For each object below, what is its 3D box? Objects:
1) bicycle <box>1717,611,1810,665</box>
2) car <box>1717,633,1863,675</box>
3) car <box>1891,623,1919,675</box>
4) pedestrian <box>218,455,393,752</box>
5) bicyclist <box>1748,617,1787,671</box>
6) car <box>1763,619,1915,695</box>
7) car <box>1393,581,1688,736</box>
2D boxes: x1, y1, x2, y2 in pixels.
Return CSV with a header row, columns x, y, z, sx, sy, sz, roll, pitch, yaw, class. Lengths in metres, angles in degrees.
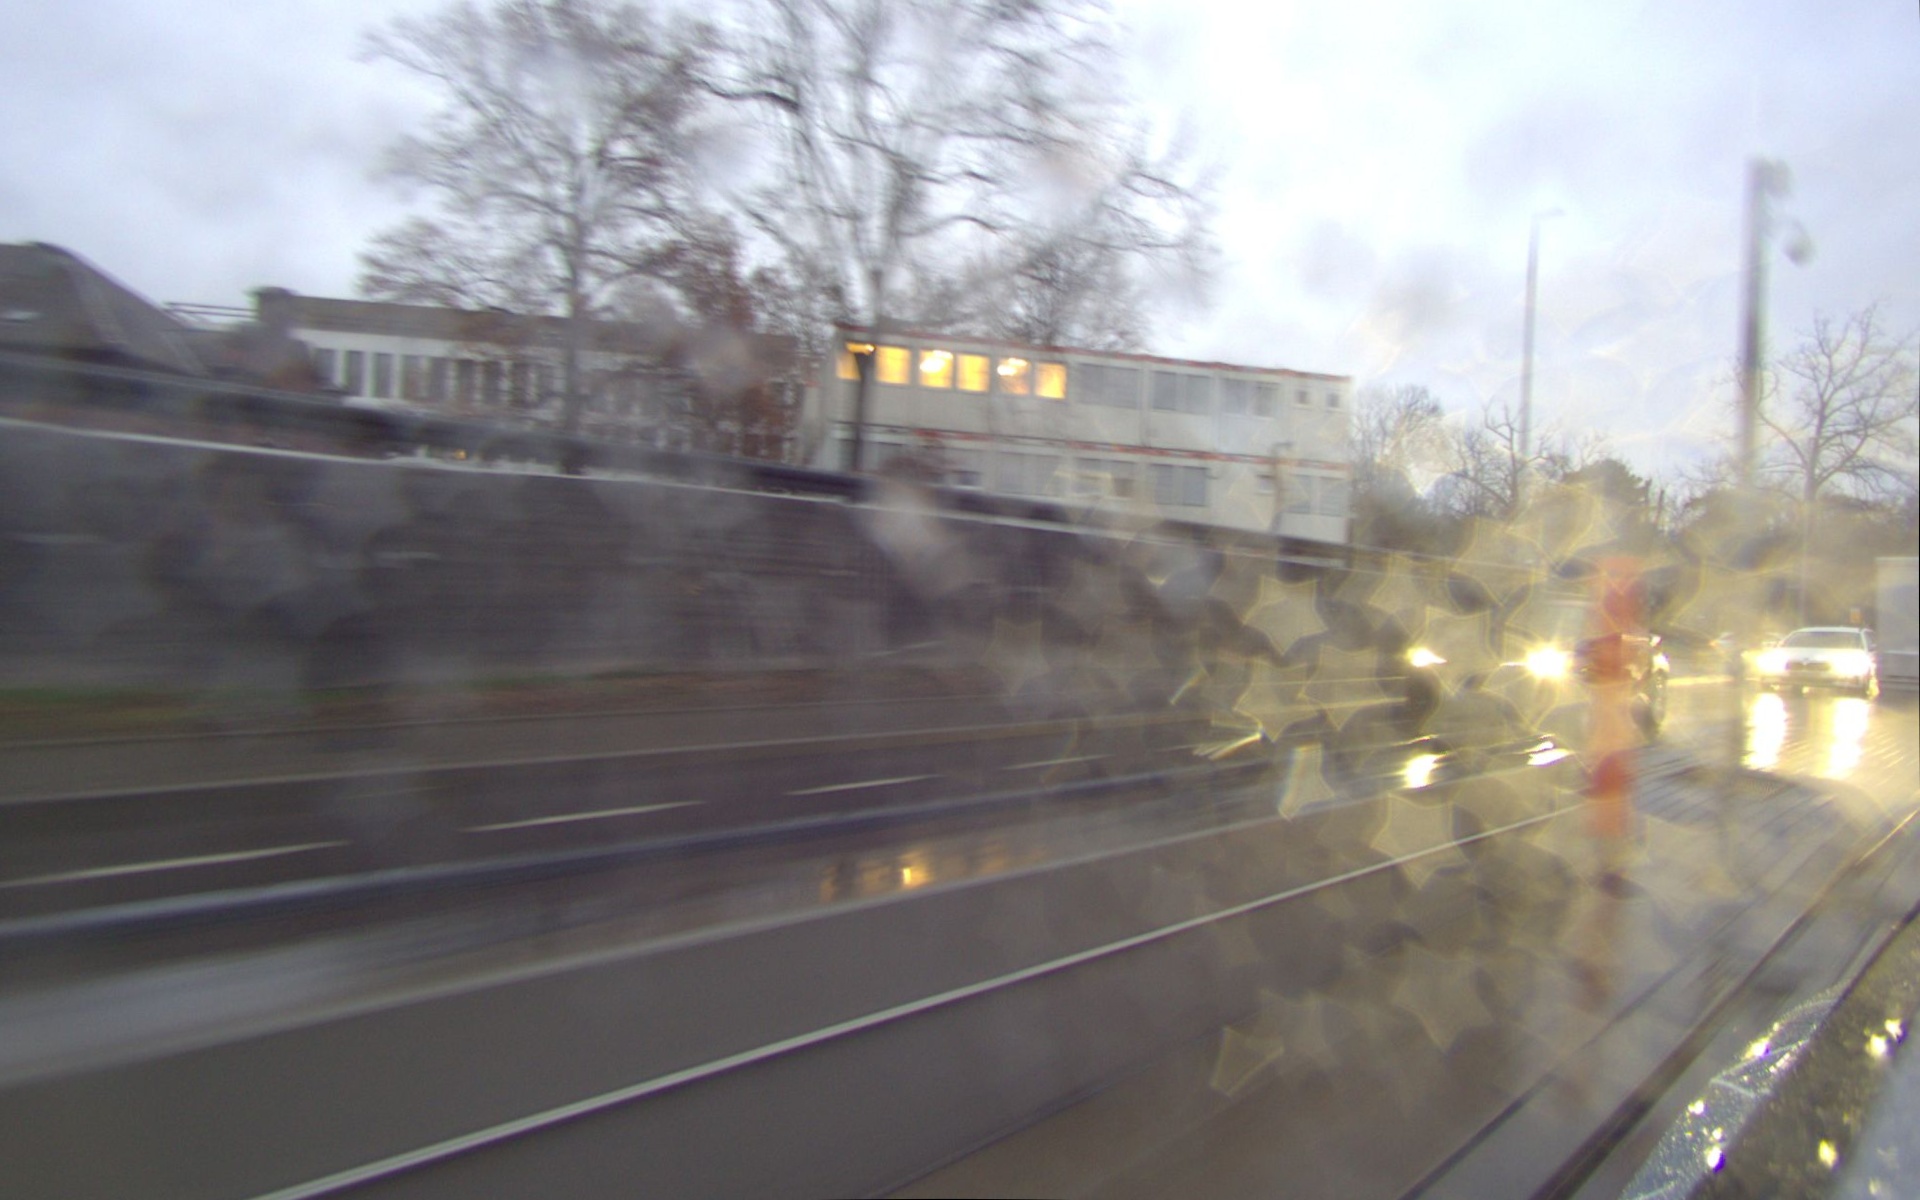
x,y,z,sx,sy,sz,roll,pitch,yaw,class
25.992,1.202,32.771,0.677,1.678,2.247,1,-1,-35,bicycle
35.759,2.308,43.719,1.845,1.508,4.520,2,0,-32,car
29.691,1.473,30.429,3.964,1.480,1.779,1,0,-36,car
-4.513,0.025,6.989,0.885,1.903,0.532,2,0,-42,pedestrian
26.069,1.405,32.668,0.684,1.700,0.818,2,-1,-35,bicyclist
20.337,1.225,23.349,4.877,1.520,1.791,1,0,-39,car
6.835,0.600,11.763,3.928,1.498,1.725,1,-1,-40,car
